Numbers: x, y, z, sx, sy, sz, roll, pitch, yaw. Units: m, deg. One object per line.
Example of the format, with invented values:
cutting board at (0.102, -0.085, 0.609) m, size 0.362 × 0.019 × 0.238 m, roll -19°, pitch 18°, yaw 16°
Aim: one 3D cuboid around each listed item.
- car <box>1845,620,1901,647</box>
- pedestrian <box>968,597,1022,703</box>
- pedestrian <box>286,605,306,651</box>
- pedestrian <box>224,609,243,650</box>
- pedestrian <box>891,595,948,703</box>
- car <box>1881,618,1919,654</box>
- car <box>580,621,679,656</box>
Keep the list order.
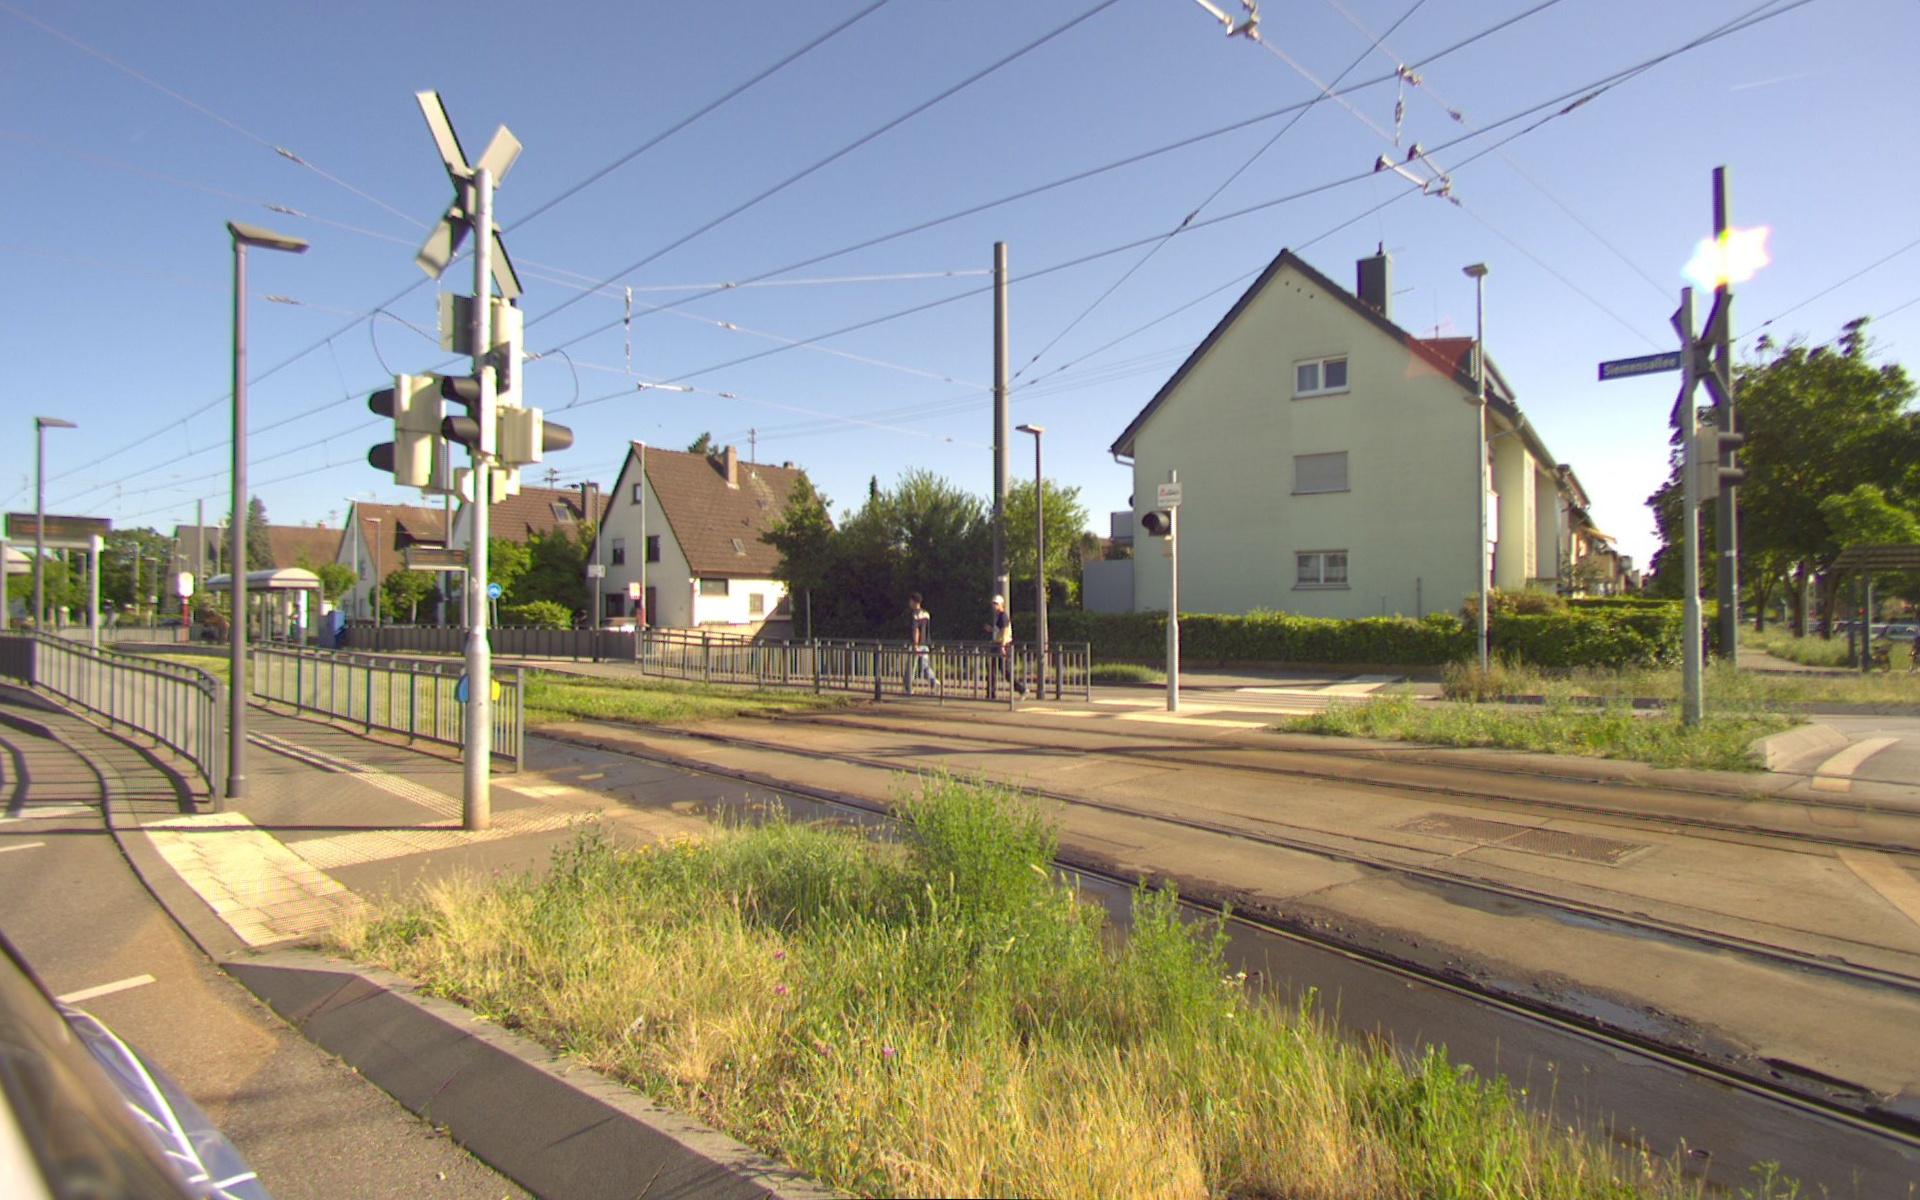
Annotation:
car at (49.345, 1.801, 54.760) m, size 1.823 × 1.403 × 3.822 m, roll -1°, pitch -2°, yaw 36°
pedestrian at (0.585, 0.804, 16.685) m, size 0.721 × 1.673 × 0.792 m, roll 1°, pitch 1°, yaw 16°
pedestrian at (-25.820, 1.100, 39.345) m, size 0.612 × 1.766 × 0.443 m, roll 0°, pitch -2°, yaw -30°
pedestrian at (-31.410, 1.279, 43.767) m, size 0.543 × 1.766 × 0.528 m, roll -2°, pitch -2°, yaw 40°
pedestrian at (-0.689, 0.818, 17.374) m, size 0.818 × 1.784 × 0.686 m, roll 1°, pitch 1°, yaw 16°
car at (41.865, 1.569, 44.286) m, size 1.823 × 1.403 × 3.745 m, roll -1°, pitch 0°, yaw 36°
car at (-15.213, 1.737, 46.771) m, size 1.997 × 1.547 × 3.941 m, roll -1°, pitch -2°, yaw 37°
